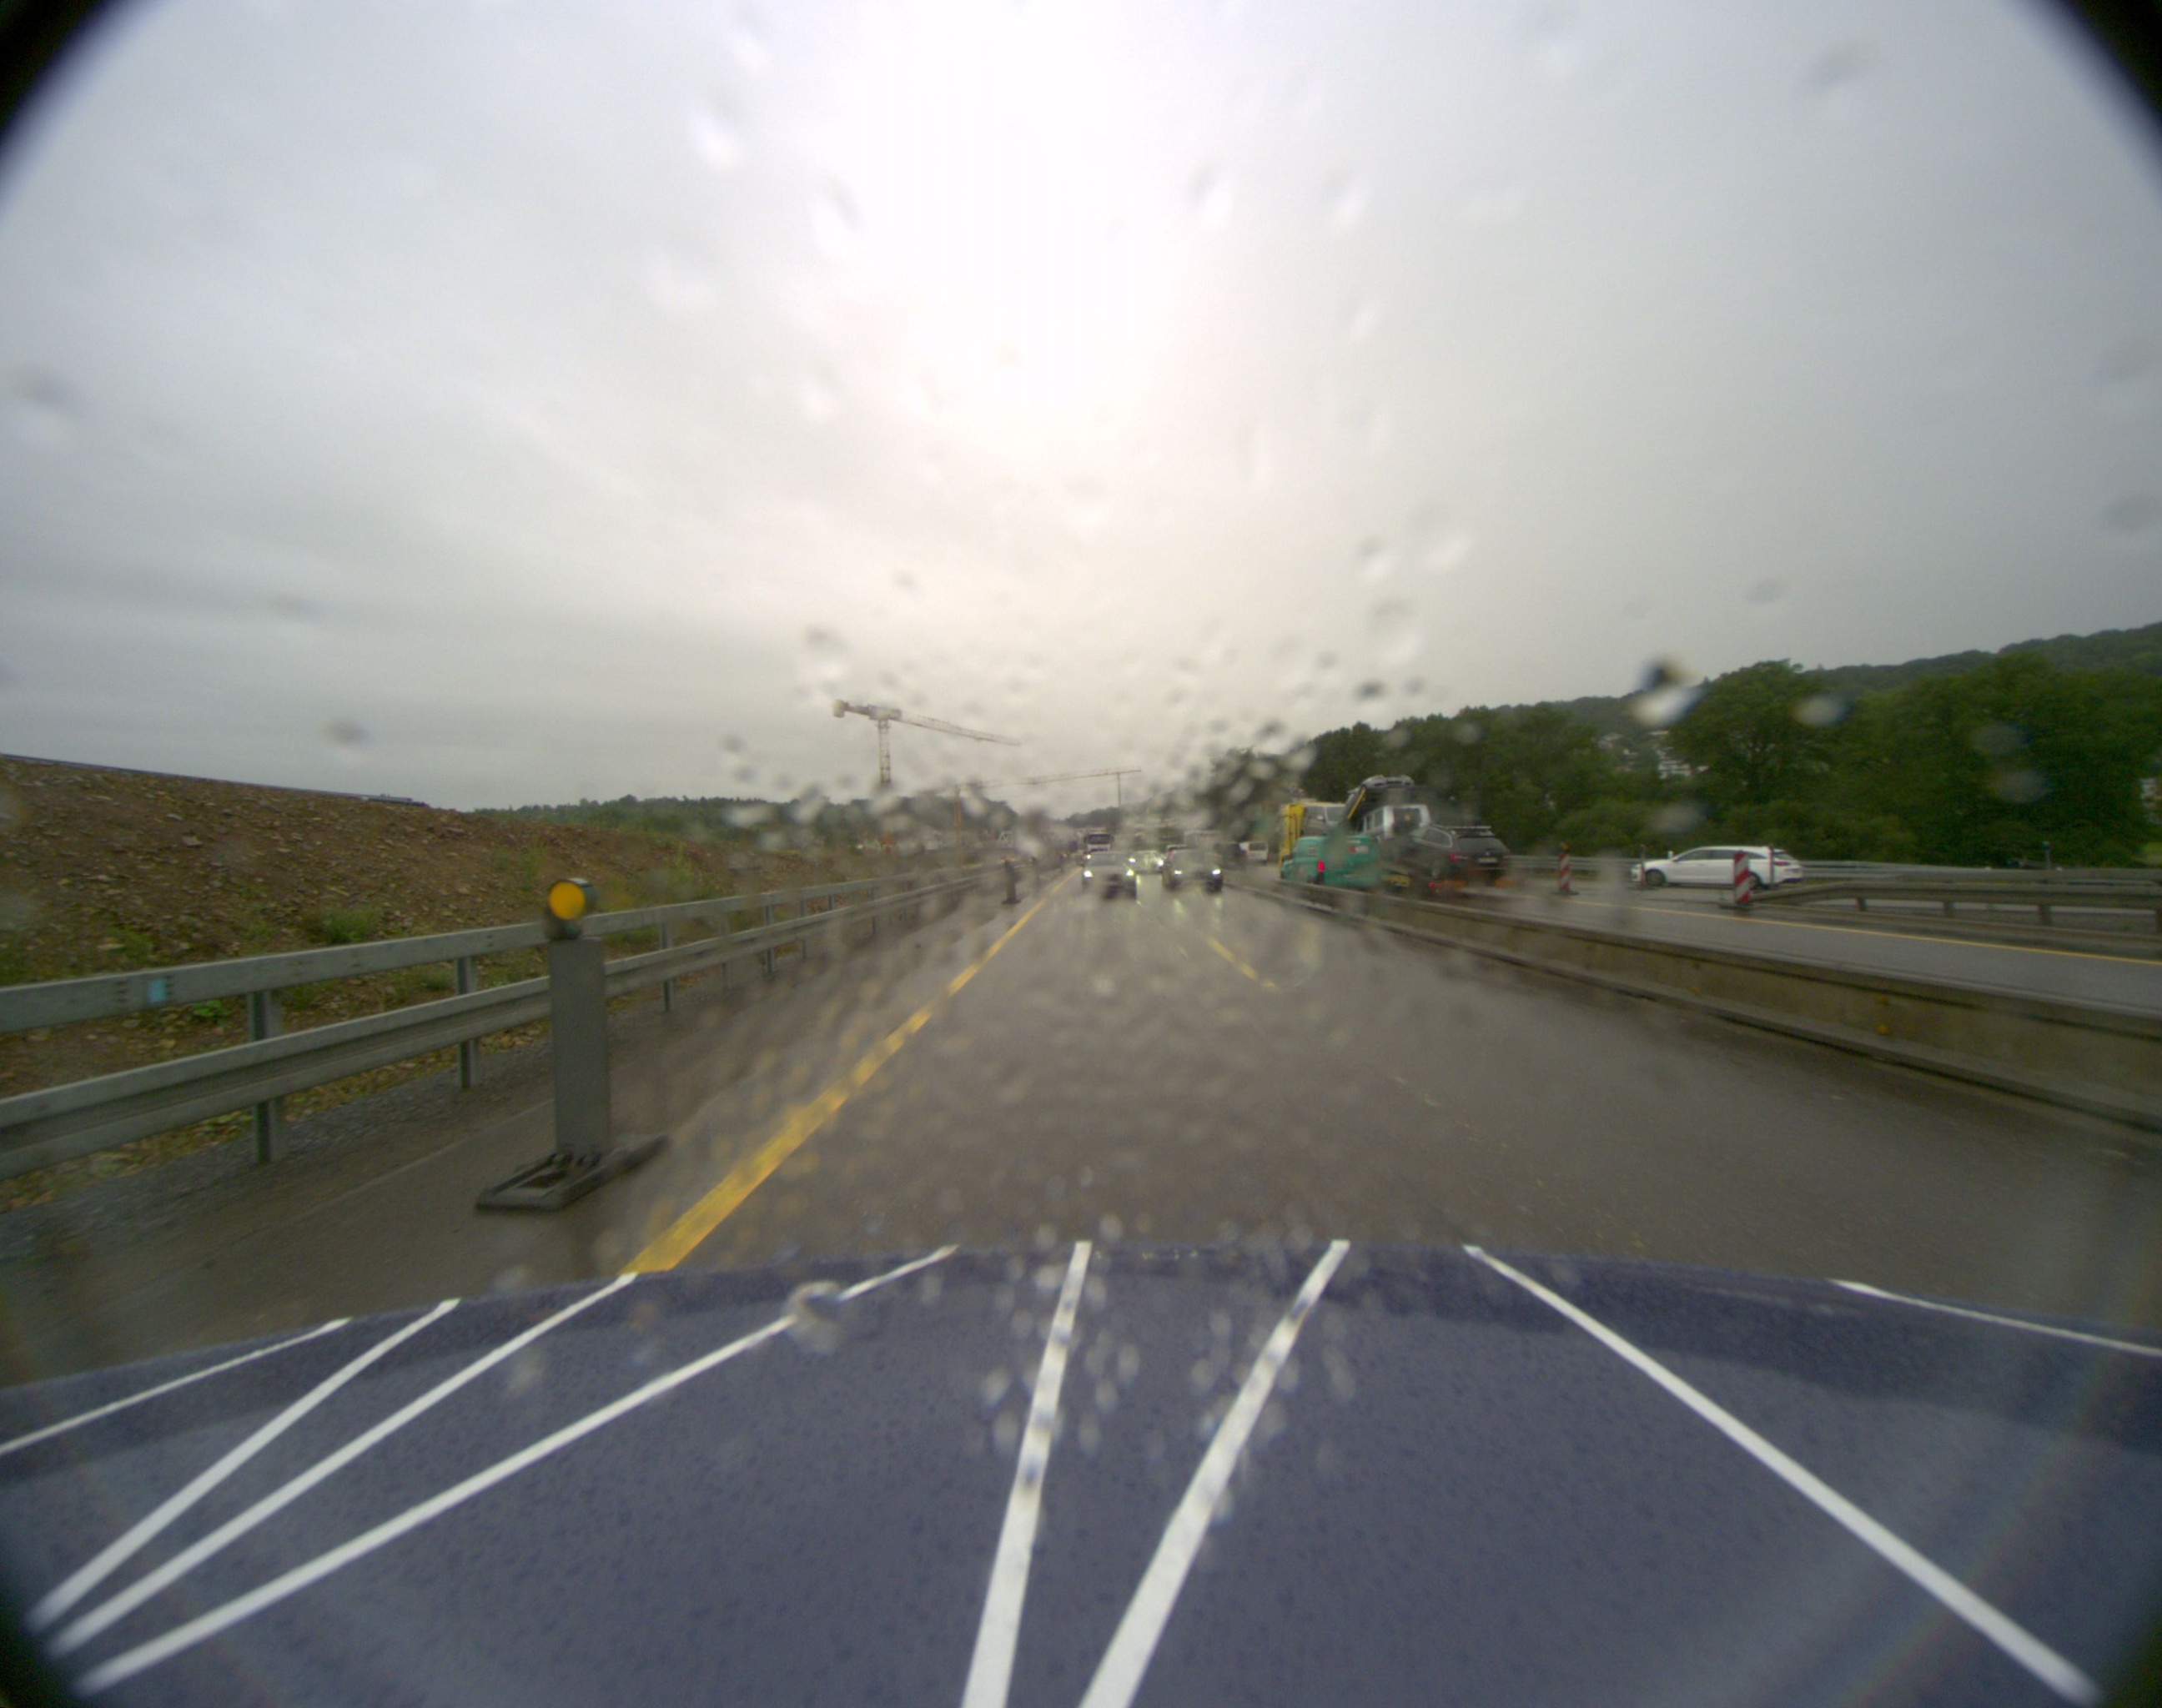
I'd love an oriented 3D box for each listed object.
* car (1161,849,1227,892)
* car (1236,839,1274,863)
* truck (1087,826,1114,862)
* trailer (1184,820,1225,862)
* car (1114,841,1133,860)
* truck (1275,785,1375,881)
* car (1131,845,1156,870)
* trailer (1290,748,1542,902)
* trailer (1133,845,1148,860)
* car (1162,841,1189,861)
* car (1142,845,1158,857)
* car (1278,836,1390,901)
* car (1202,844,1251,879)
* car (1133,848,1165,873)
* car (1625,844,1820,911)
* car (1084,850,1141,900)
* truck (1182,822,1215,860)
[{"bbox_3d":[4.179,0.573,28.779,1.951,1.430,4.483,-1,1,2],"label":"car"},{"bbox_3d":[15.580,-0.311,68.307,2.270,2.002,5.045,-1,1,1],"label":"car"},{"bbox_3d":[2.018,-1.053,77.442,2.575,3.451,6.627,-1,1,2],"label":"truck"},{"bbox_3d":[12.223,-1.274,75.813,2.692,3.940,9.819,0,1,1],"label":"trailer"},{"bbox_3d":[4.989,-0.360,90.160,1.998,2.001,4.188,-2,-2,1],"label":"car"},{"bbox_3d":[11.208,-0.917,35.511,2.756,4.039,6.147,-1,1,1],"label":"truck"},{"bbox_3d":[5.250,0.272,63.453,1.998,2.002,4.002,-1,0,5],"label":"car"},{"bbox_3d":[10.991,-0.850,27.809,2.756,4.019,15.358,-1,1,1],"label":"trailer"},{"bbox_3d":[15.798,-0.318,202.865,3.285,3.885,13.701,-1,0,2],"label":"trailer"},{"bbox_3d":[8.541,-0.284,69.251,1.879,1.782,5.359,-1,1,1],"label":"car"},{"bbox_3d":[9.032,-0.375,99.542,1.713,1.445,4.000,-1,1,1],"label":"car"},{"bbox_3d":[7.665,0.390,23.536,1.998,1.749,4.688,-1,0,1],"label":"car"},{"bbox_3d":[7.802,0.336,41.307,1.791,1.795,5.189,0,1,1],"label":"car"},{"bbox_3d":[4.280,0.387,48.329,1.781,1.430,4.483,-1,1,2],"label":"car"},{"bbox_3d":[22.209,0.752,26.500,2.075,2.050,4.830,-2,1,-35],"label":"car"},{"bbox_3d":[1.065,0.654,26.194,1.781,1.514,4.140,-1,1,2],"label":"car"},{"bbox_3d":[12.335,-1.328,80.055,2.692,3.904,5.273,0,1,1],"label":"truck"}]
